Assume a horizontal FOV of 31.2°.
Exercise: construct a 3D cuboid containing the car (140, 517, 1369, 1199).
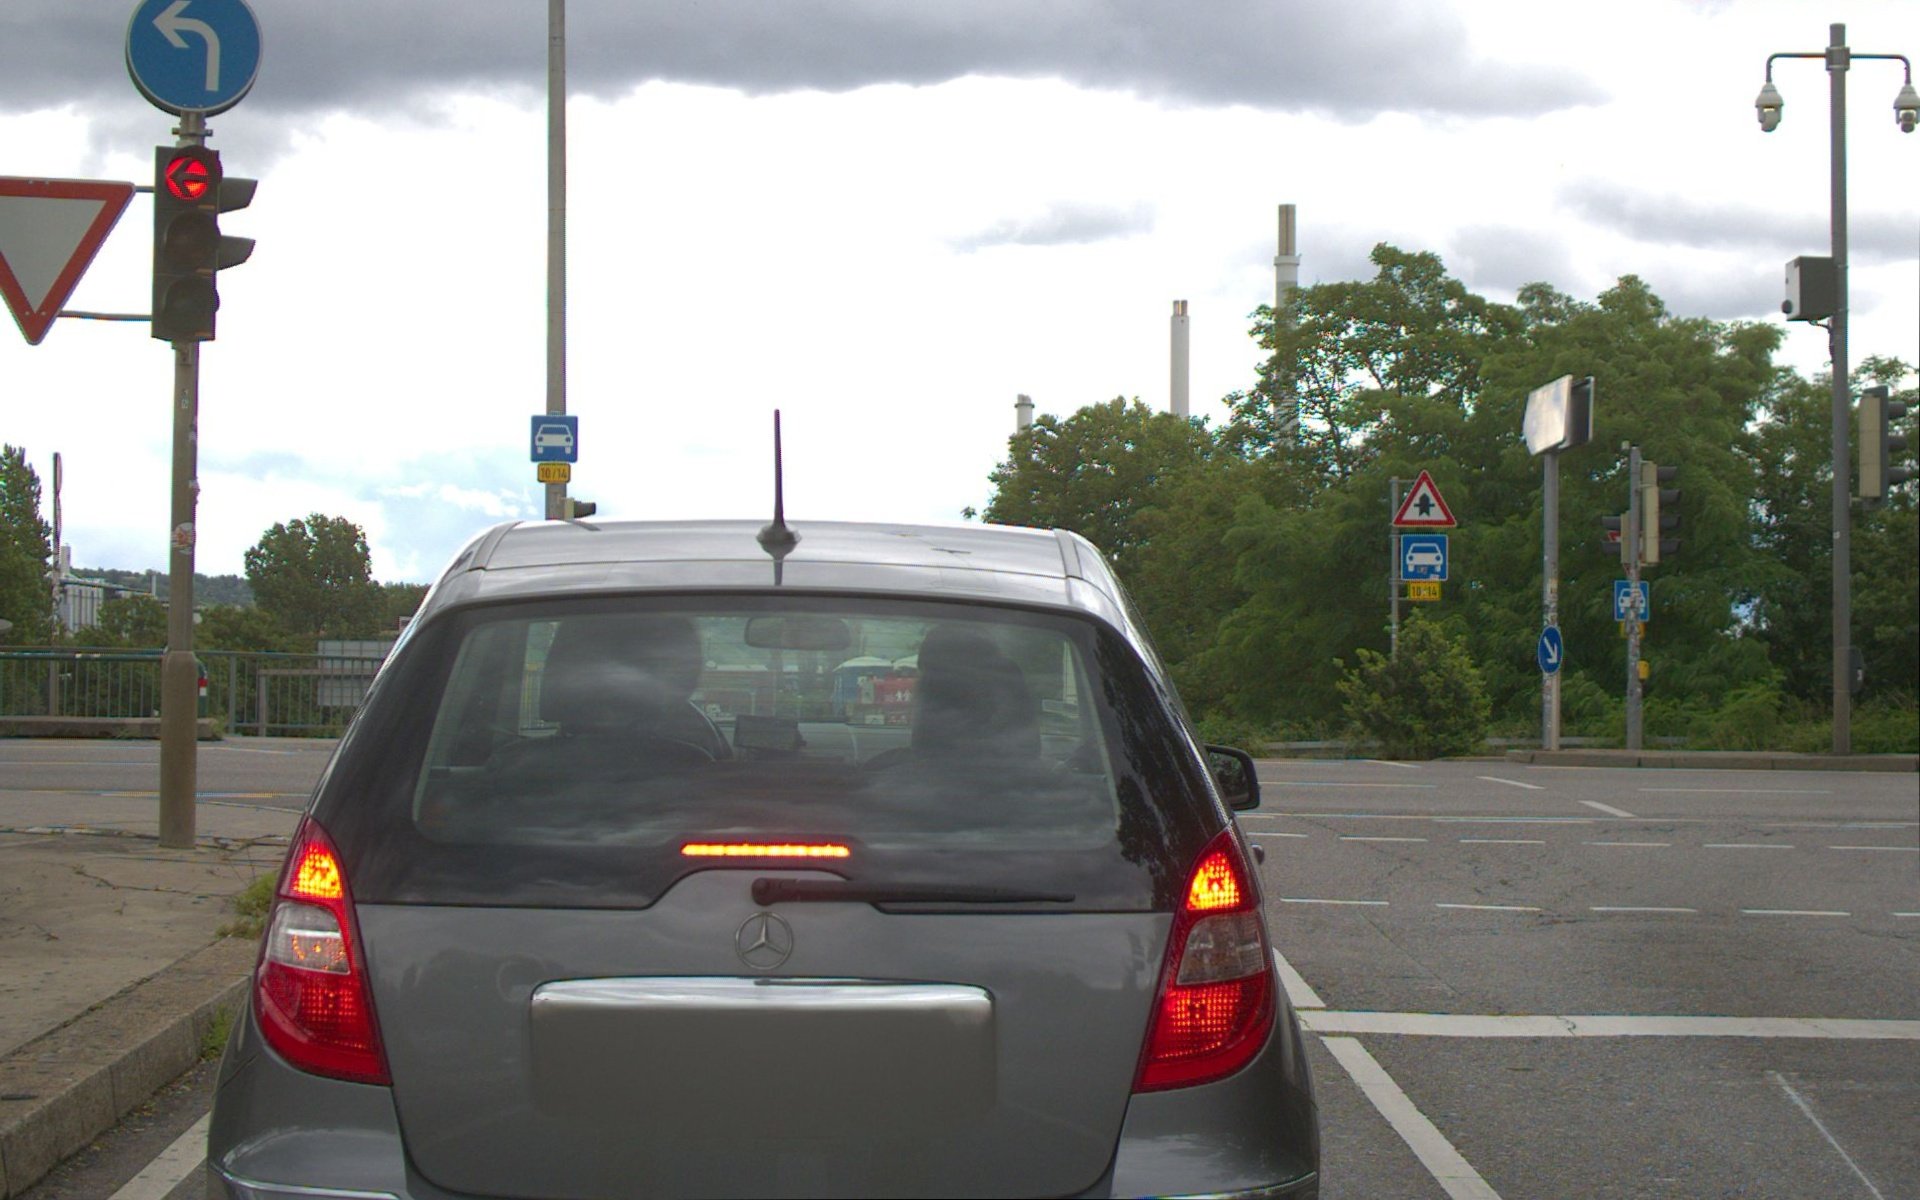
[{"bbox_3d":[-0.311,0.644,6.678,1.739,1.538,3.541,1,1,0],"label":"car"}]
